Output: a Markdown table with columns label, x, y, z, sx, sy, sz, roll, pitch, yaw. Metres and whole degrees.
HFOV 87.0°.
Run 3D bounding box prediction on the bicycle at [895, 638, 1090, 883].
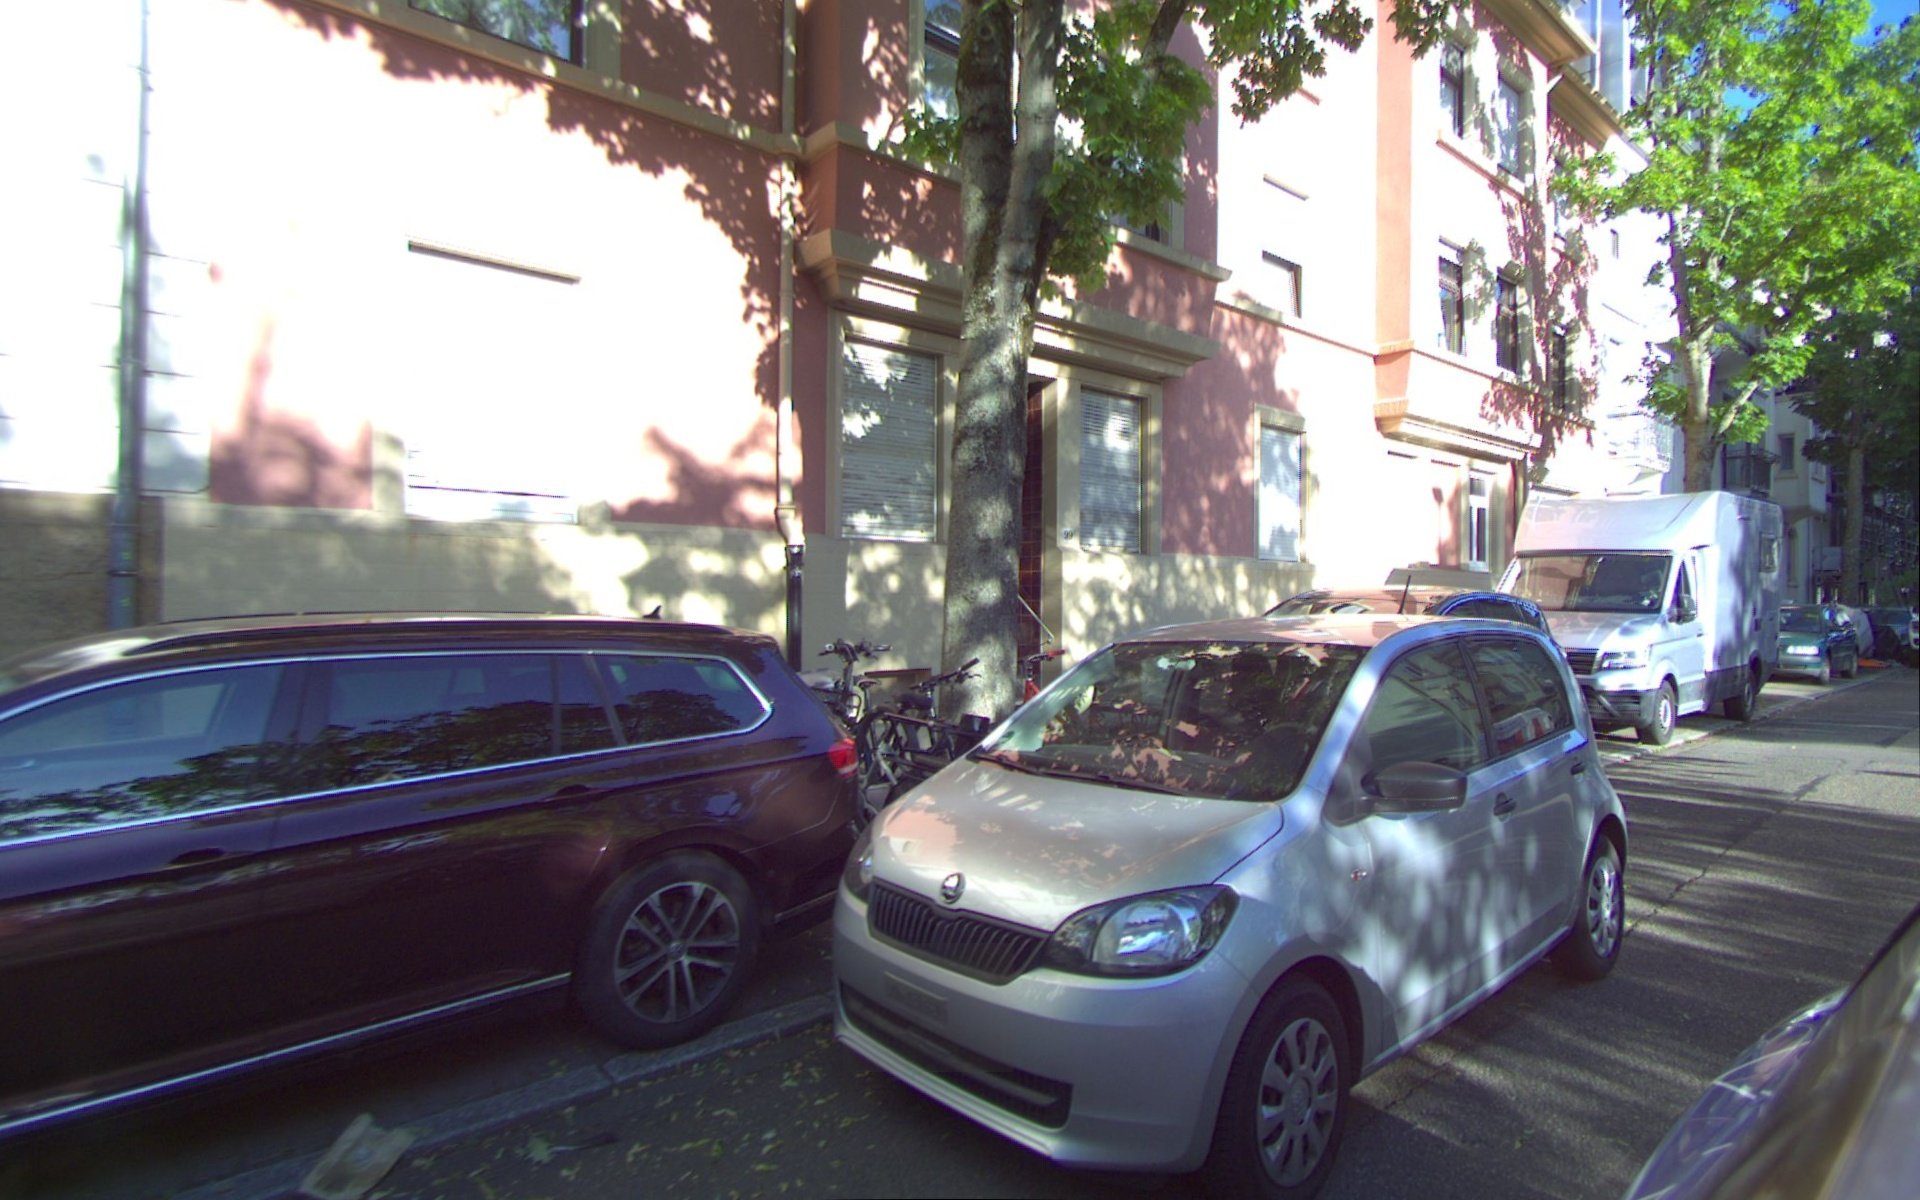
| label | x | y | z | sx | sy | sz | roll | pitch | yaw |
| --- | --- | --- | --- | --- | --- | --- | --- | --- | --- |
| bicycle | 0.137 | 0.787 | 5.383 | 0.293 | 1.089 | 1.203 | 0 | 1 | -40 |

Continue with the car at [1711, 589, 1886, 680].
| label | x | y | z | sx | sy | sz | roll | pitch | yaw |
| --- | --- | --- | --- | --- | --- | --- | --- | --- | --- |
| car | 16.446 | 0.579 | 19.763 | 4.695 | 1.548 | 1.755 | 0 | 2 | -39 |

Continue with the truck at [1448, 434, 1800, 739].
| label | x | y | z | sx | sy | sz | roll | pitch | yaw |
| --- | --- | --- | --- | --- | --- | --- | --- | --- | --- |
| truck | 8.560 | -0.195 | 12.741 | 6.003 | 3.005 | 2.078 | 0 | 3 | -41 |

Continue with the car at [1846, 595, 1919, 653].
| label | x | y | z | sx | sy | sz | roll | pitch | yaw |
| --- | --- | --- | --- | --- | --- | --- | --- | --- | --- |
| car | 26.179 | 0.622 | 28.165 | 4.352 | 1.439 | 1.683 | 0 | 2 | -41 |

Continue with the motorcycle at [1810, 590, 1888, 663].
| label | x | y | z | sx | sy | sz | roll | pitch | yaw |
| --- | --- | --- | --- | --- | --- | --- | --- | --- | --- |
| motorcycle | 19.238 | 0.543 | 21.896 | 2.099 | 1.505 | 0.932 | 0 | 0 | -39 |

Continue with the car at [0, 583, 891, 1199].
| label | x | y | z | sx | sy | sz | roll | pitch | yaw |
| --- | --- | --- | --- | --- | --- | --- | --- | --- | --- |
| car | -2.503 | 0.728 | 3.280 | 4.382 | 1.533 | 1.789 | 0 | 0 | -41 |

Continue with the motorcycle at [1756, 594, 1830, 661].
| label | x | y | z | sx | sy | sz | roll | pitch | yaw |
| --- | --- | --- | --- | --- | --- | --- | --- | --- | --- |
| motorcycle | 18.618 | 0.589 | 22.610 | 2.194 | 1.434 | 0.863 | 0 | 0 | -39 |

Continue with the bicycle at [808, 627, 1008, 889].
| label | x | y | z | sx | sy | sz | roll | pitch | yaw |
| --- | --- | --- | --- | --- | --- | --- | --- | --- | --- |
| bicycle | -0.317 | 0.759 | 5.351 | 0.322 | 1.154 | 1.310 | 0 | 1 | -40 |

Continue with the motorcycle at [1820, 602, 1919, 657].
| label | x | y | z | sx | sy | sz | roll | pitch | yaw |
| --- | --- | --- | --- | --- | --- | --- | --- | --- | --- |
| motorcycle | 21.652 | 0.684 | 24.031 | 1.737 | 1.256 | 0.700 | 0 | 0 | 11 |

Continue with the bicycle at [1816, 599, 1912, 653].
| label | x | y | z | sx | sy | sz | roll | pitch | yaw |
| --- | --- | --- | --- | --- | --- | --- | --- | --- | --- |
| bicycle | 23.077 | 0.645 | 25.859 | 0.576 | 1.321 | 1.762 | 0 | 0 | -41 |

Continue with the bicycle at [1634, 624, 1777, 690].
| label | x | y | z | sx | sy | sz | roll | pitch | yaw |
| --- | --- | --- | --- | --- | --- | --- | --- | --- | --- |
| bicycle | 12.022 | 0.893 | 16.367 | 0.569 | 0.961 | 1.790 | 0 | 0 | -38 |

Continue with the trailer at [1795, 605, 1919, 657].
| label | x | y | z | sx | sy | sz | roll | pitch | yaw |
| --- | --- | --- | --- | --- | --- | --- | --- | --- | --- |
| trailer | 20.569 | 0.687 | 23.244 | 2.074 | 1.126 | 1.101 | 0 | 0 | 37 |

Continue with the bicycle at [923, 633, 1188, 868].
| label | x | y | z | sx | sy | sz | roll | pitch | yaw |
| --- | --- | --- | --- | --- | --- | --- | --- | --- | --- |
| bicycle | 0.550 | 0.877 | 6.584 | 0.559 | 1.181 | 1.815 | 0 | 3 | -40 |

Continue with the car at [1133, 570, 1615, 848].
| label | x | y | z | sx | sy | sz | roll | pitch | yaw |
| --- | --- | --- | --- | --- | --- | --- | --- | --- | --- |
| car | 3.759 | 0.655 | 8.659 | 4.859 | 1.737 | 1.888 | 0 | 1 | -42 |

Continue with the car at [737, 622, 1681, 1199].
| label | x | y | z | sx | sy | sz | roll | pitch | yaw |
| --- | --- | --- | --- | --- | --- | --- | --- | --- | --- |
| car | 1.226 | 0.907 | 3.876 | 3.734 | 1.564 | 1.681 | 0 | 0 | -41 |
